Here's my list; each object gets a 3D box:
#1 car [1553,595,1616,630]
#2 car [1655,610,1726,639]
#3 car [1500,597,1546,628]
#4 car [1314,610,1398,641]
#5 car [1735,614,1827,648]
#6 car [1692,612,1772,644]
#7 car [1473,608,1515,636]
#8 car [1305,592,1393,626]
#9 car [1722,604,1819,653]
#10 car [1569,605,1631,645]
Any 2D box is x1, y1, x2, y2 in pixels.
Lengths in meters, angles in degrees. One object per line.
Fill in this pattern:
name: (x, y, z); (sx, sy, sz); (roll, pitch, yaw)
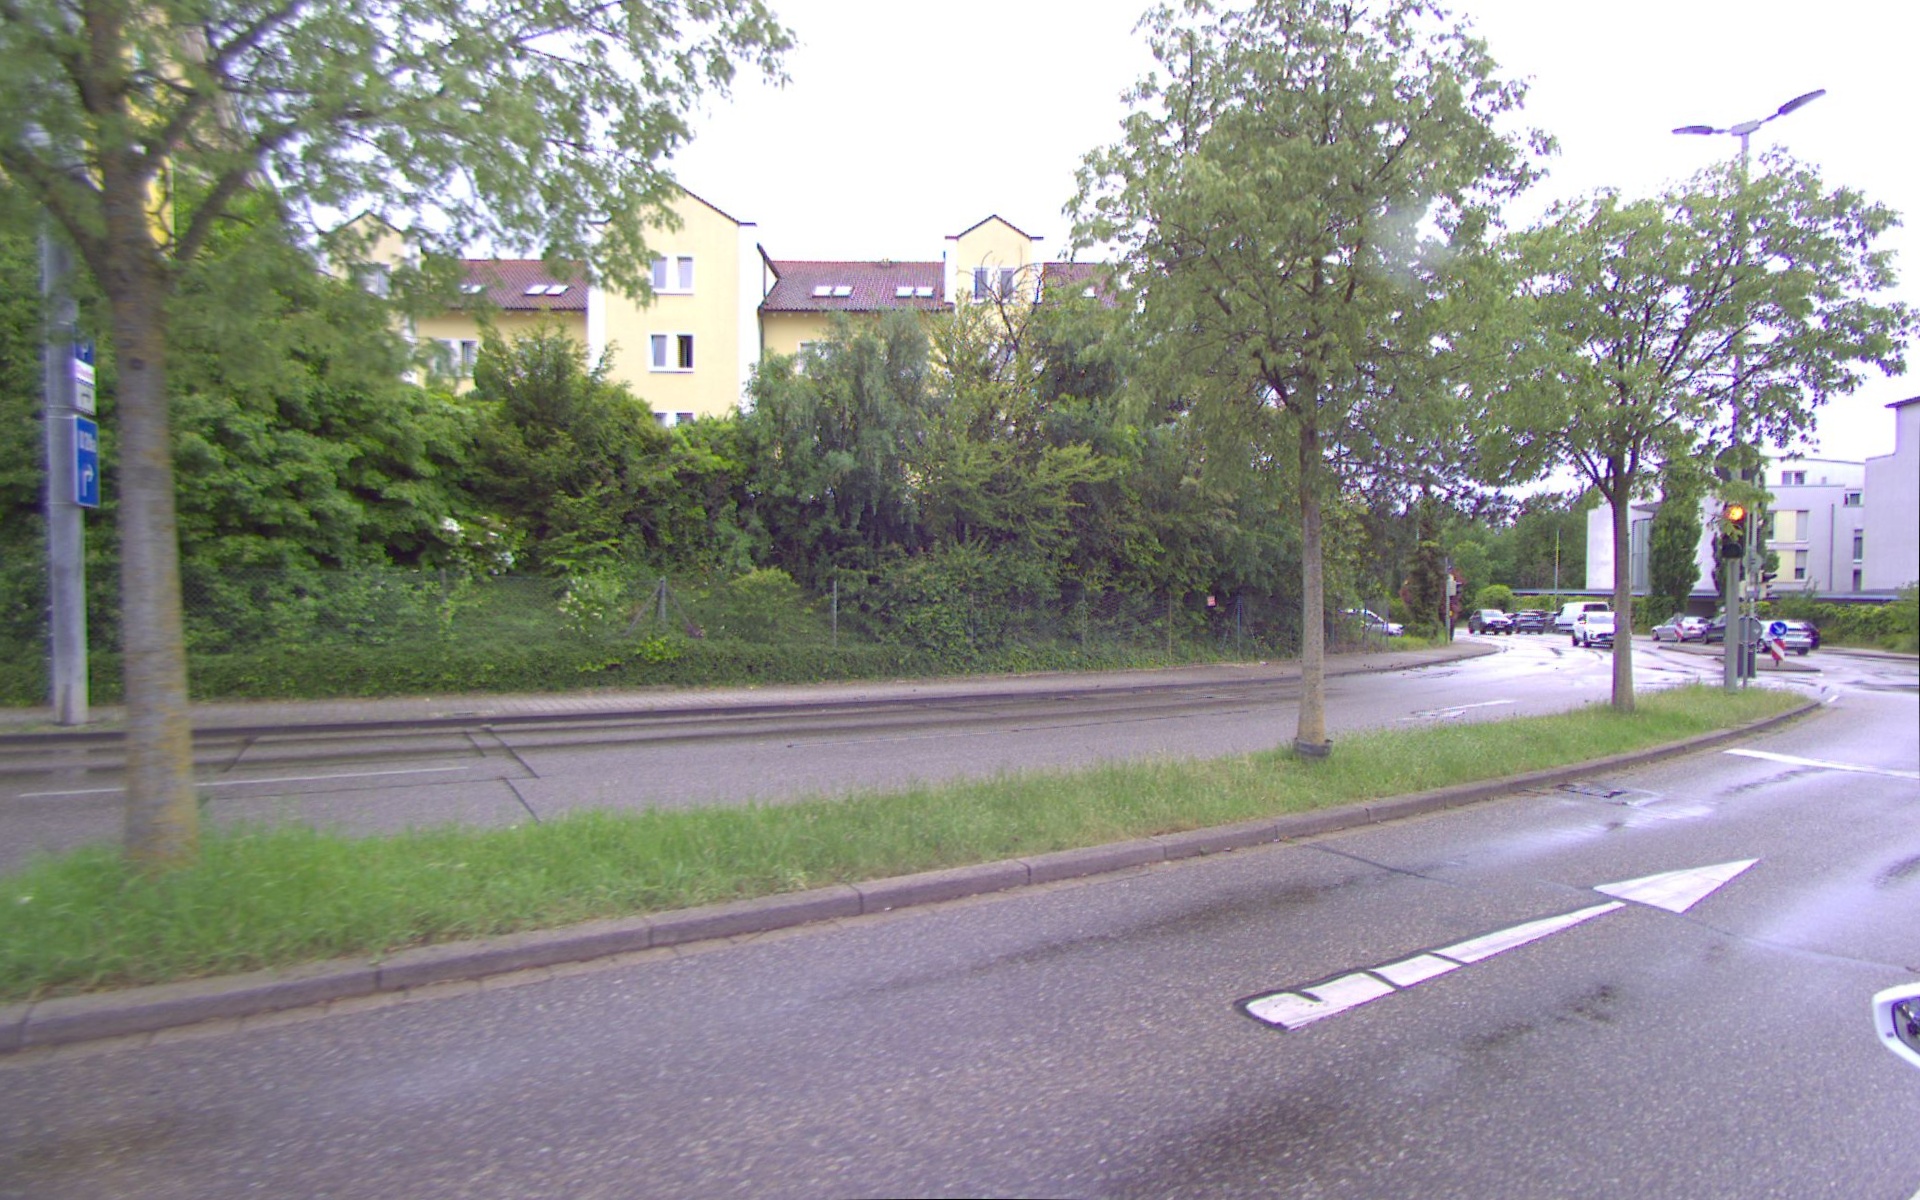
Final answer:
car: (46.329, 0.986, 74.671); (2.548, 2.445, 5.259); (1, -2, 15)
car: (43.067, 1.417, 59.346); (1.959, 1.576, 4.002); (0, 0, 13)
car: (42.828, 0.928, 76.528); (1.941, 2.041, 4.001); (1, 4, 13)
car: (18.303, 1.157, 46.458); (3.519, 1.258, 1.651); (2, 2, 24)
car: (40.952, 1.509, 50.206); (1.959, 1.576, 4.002); (0, 0, 13)
car: (41.894, 1.472, 54.645); (1.959, 1.576, 4.002); (0, 0, 13)
car: (37.933, 1.543, 71.454); (1.960, 1.840, 4.000); (1, 1, 18)
car: (19.124, 0.399, 49.410); (3.923, 1.484, 1.998); (2, 2, 24)
car: (35.893, 1.211, 44.628); (1.960, 1.782, 3.999); (1, 4, 17)
car: (30.122, 1.141, 47.369); (1.962, 1.662, 3.995); (2, 2, 26)
